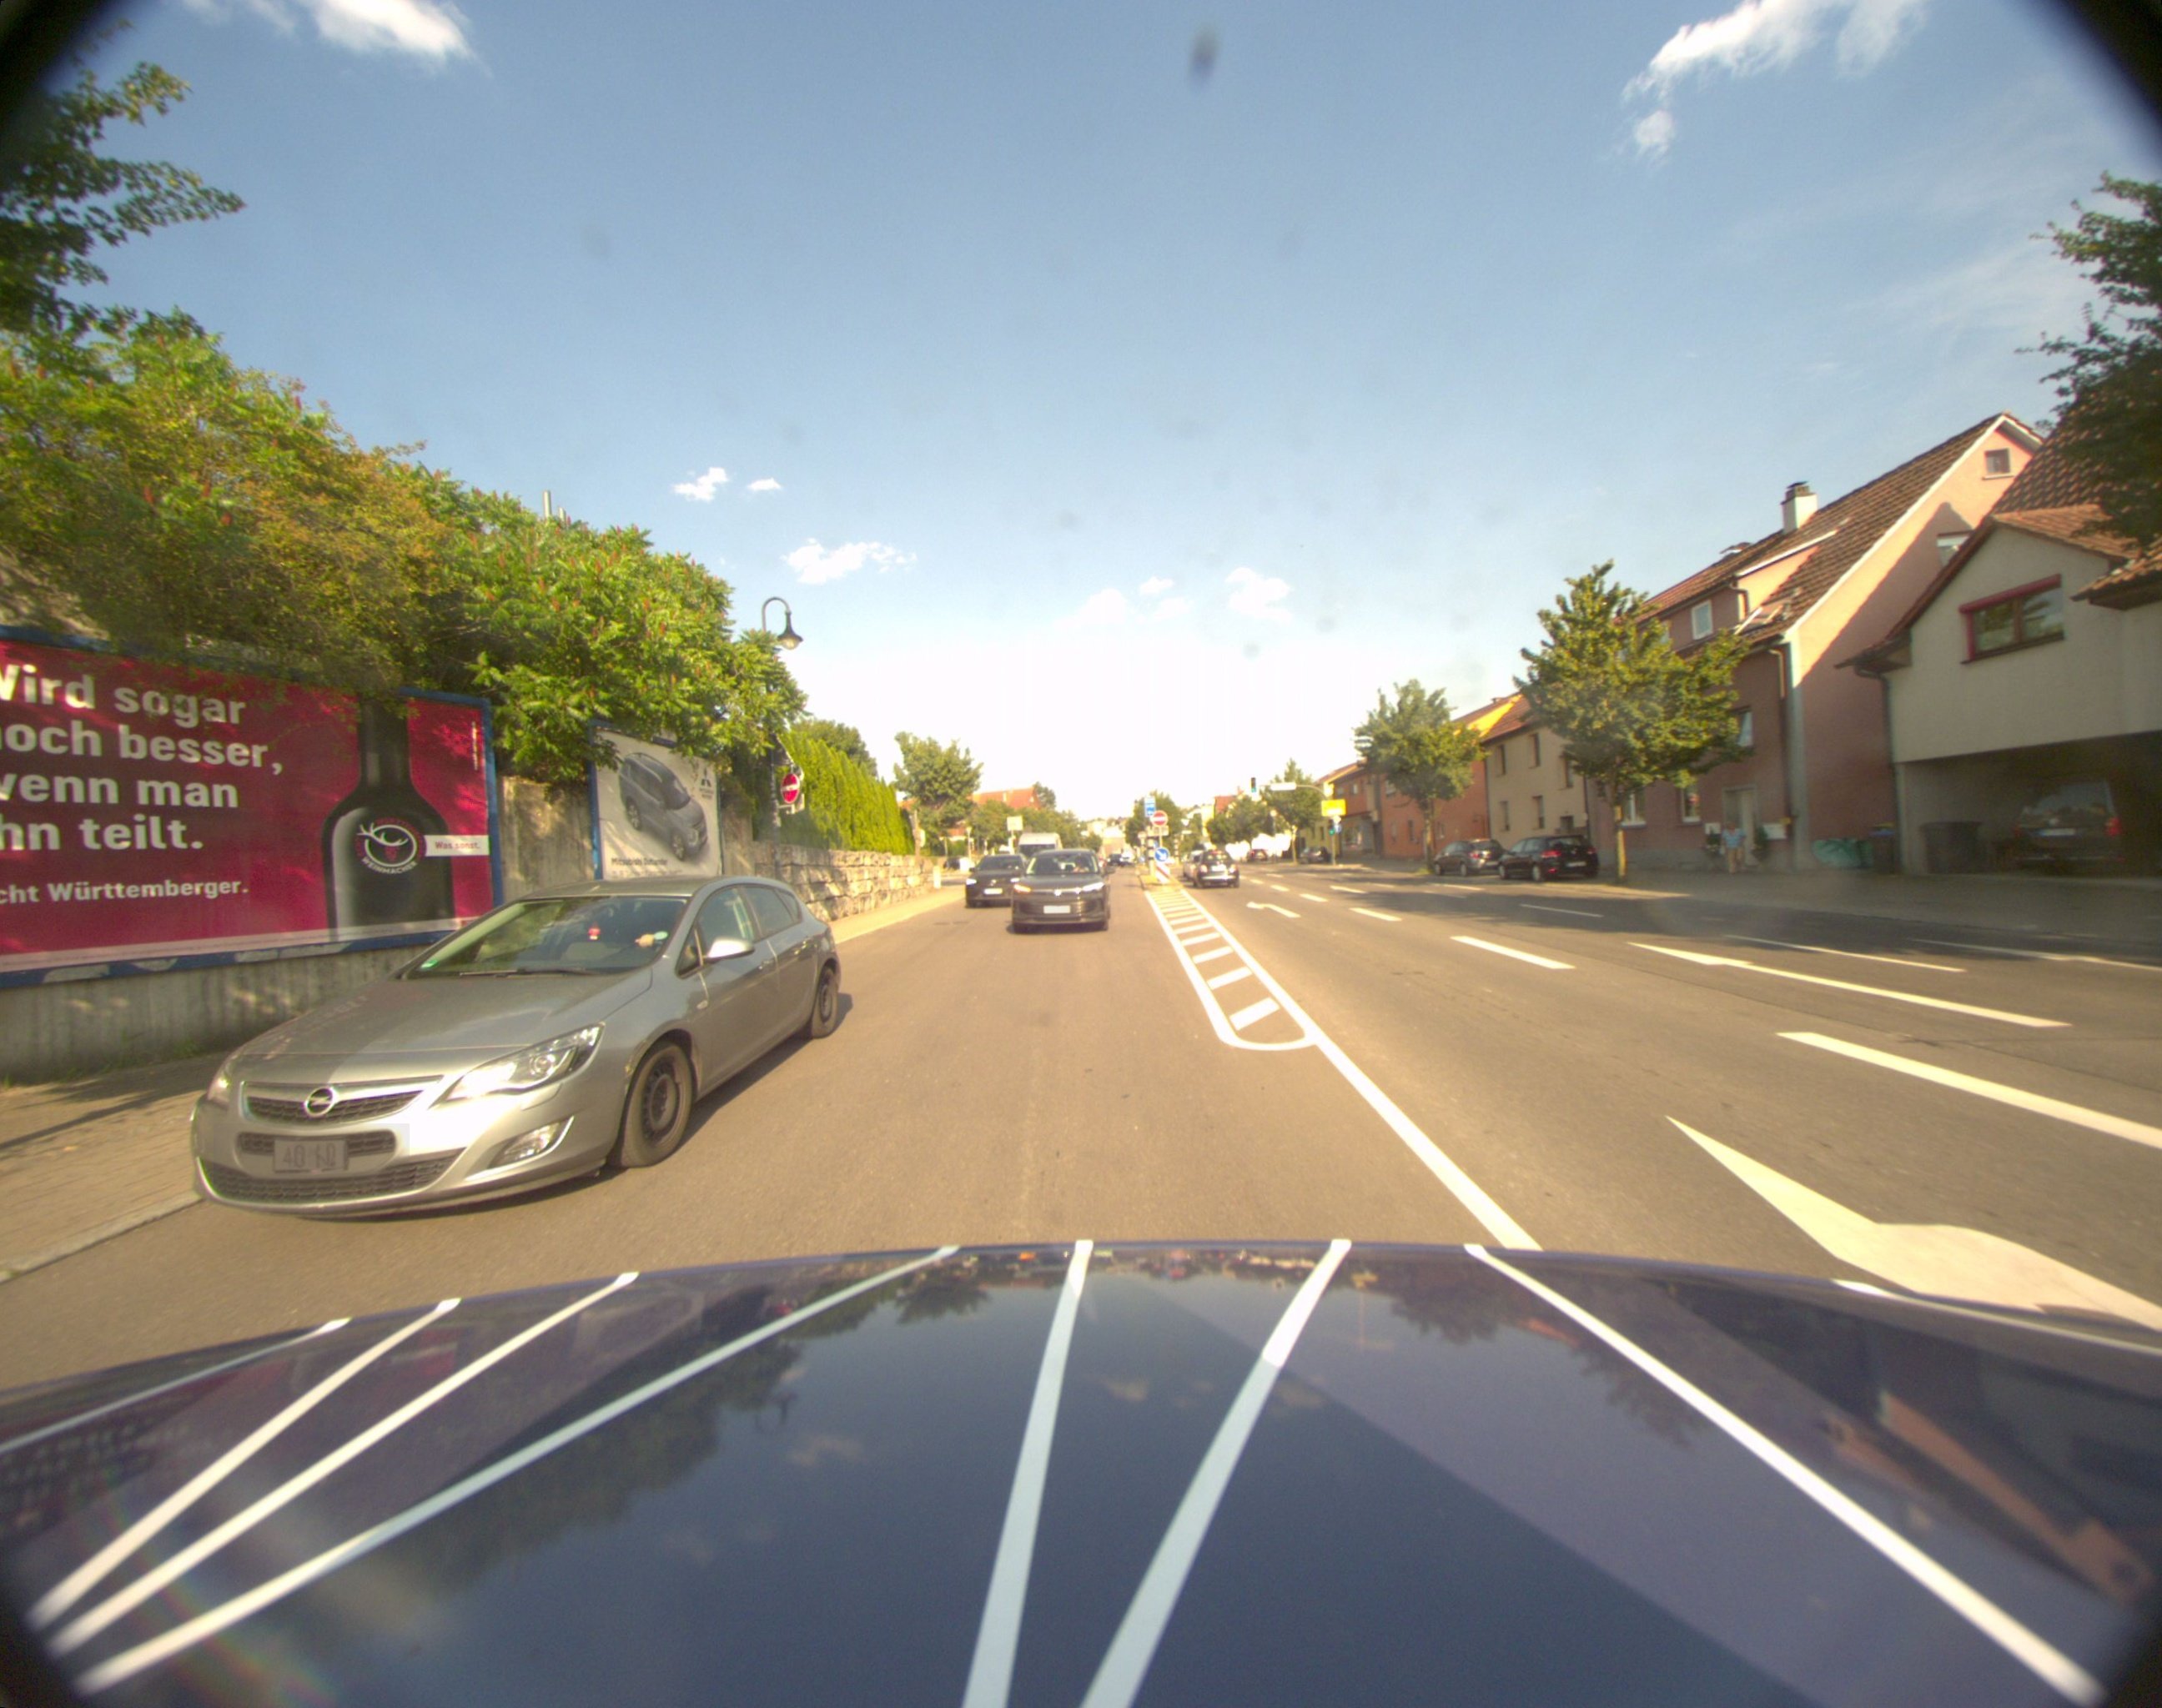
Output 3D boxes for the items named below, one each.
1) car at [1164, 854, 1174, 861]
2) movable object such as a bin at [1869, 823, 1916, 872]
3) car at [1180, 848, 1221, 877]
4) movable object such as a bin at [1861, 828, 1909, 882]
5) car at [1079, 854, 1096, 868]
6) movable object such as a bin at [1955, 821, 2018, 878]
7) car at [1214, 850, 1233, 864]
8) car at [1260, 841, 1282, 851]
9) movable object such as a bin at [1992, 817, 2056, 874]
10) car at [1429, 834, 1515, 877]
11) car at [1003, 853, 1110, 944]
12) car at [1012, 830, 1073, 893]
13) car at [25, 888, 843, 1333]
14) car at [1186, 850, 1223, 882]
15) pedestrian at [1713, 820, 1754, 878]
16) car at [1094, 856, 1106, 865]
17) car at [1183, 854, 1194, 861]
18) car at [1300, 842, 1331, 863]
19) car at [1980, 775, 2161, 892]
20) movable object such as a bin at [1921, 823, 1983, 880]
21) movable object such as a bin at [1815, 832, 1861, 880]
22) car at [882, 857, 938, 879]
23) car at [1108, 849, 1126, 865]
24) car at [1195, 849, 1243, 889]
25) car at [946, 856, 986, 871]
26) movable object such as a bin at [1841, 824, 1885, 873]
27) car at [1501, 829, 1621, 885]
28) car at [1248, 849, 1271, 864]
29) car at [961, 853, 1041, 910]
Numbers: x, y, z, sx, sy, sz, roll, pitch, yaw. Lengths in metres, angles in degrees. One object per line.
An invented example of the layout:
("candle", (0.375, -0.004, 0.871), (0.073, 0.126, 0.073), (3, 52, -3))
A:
("car", (17.679, 0.742, 152.727), (1.761, 1.403, 4.001), (-2, 0, 3))
("movable object such as a bin", (19.431, -0.149, 18.204), (0.505, 1.136, 0.546), (-2, 0, 6))
("car", (6.703, 0.474, 43.146), (1.839, 1.479, 4.567), (-2, 0, 4))
("movable object such as a bin", (17.540, 0.022, 16.587), (0.476, 1.130, 0.501), (-2, 0, 4))
("car", (0.716, 0.739, 78.742), (1.515, 1.353, 2.956), (-2, 0, 4))
("movable object such as a bin", (18.574, -0.091, 15.593), (0.567, 1.136, 0.576), (-2, 0, -1))
("car", (18.055, 0.344, 96.386), (1.689, 1.602, 4.414), (-2, 0, 4))
("car", (31.388, -1.272, 125.173), (3.437, 1.534, 1.617), (-2, -1, -35))
("movable object such as a bin", (19.263, -0.171, 15.526), (0.567, 1.136, 0.576), (-2, 0, -1))
("car", (15.634, 0.070, 30.609), (1.515, 1.501, 3.886), (-4, 0, 3))
("car", (-0.365, 0.820, 15.835), (1.767, 1.582, 4.058), (-3, 0, 4))
("car", (-1.716, 0.335, 36.326), (2.039, 2.642, 6.651), (-3, 0, 4))
("car", (-2.973, 1.014, 4.810), (1.652, 1.414, 4.143), (-1, 0, -1))
("car", (6.001, 0.566, 37.218), (1.592, 1.419, 3.579), (-2, 0, 6))
("pedestrian", (18.168, -0.137, 21.157), (0.724, 1.598, 0.776), (-3, 1, -44))
("car", (2.980, 1.076, 119.311), (1.529, 1.353, 2.794), (-2, 0, 7))
("car", (20.681, 0.684, 145.877), (1.761, 1.403, 4.001), (-2, 0, 3))
("car", (18.456, -0.108, 59.928), (1.595, 1.430, 3.777), (-7, -1, 7))
("car", (18.942, -0.446, 13.354), (3.829, 1.870, 1.780), (-4, 0, 6))
("movable object such as a bin", (17.811, -0.047, 15.542), (0.567, 1.136, 0.576), (-2, 0, -1))
("movable object such as a bin", (18.289, 0.046, 18.373), (0.552, 1.136, 0.530), (-2, 0, 6))
("car", (-12.582, 0.995, 56.055), (3.796, 1.533, 1.598), (1, 0, 1))
("car", (4.309, 0.380, 90.769), (1.816, 1.861, 4.002), (-2, 0, 5))
("car", (5.532, 0.576, 30.692), (1.535, 1.453, 3.507), (-2, 0, 5))
("car", (-13.207, 1.078, 87.189), (4.072, 1.447, 1.681), (-2, 0, 16))
("movable object such as a bin", (18.829, -0.126, 18.302), (0.505, 1.136, 0.530), (-2, 0, 6))
("car", (15.272, 0.071, 24.421), (1.669, 1.523, 3.905), (-5, 0, 7))
("car", (20.026, 0.250, 85.346), (1.859, 1.586, 4.462), (-2, 0, 6))
("car", (-2.444, 0.815, 24.165), (1.791, 1.596, 4.058), (-2, 0, 4))
